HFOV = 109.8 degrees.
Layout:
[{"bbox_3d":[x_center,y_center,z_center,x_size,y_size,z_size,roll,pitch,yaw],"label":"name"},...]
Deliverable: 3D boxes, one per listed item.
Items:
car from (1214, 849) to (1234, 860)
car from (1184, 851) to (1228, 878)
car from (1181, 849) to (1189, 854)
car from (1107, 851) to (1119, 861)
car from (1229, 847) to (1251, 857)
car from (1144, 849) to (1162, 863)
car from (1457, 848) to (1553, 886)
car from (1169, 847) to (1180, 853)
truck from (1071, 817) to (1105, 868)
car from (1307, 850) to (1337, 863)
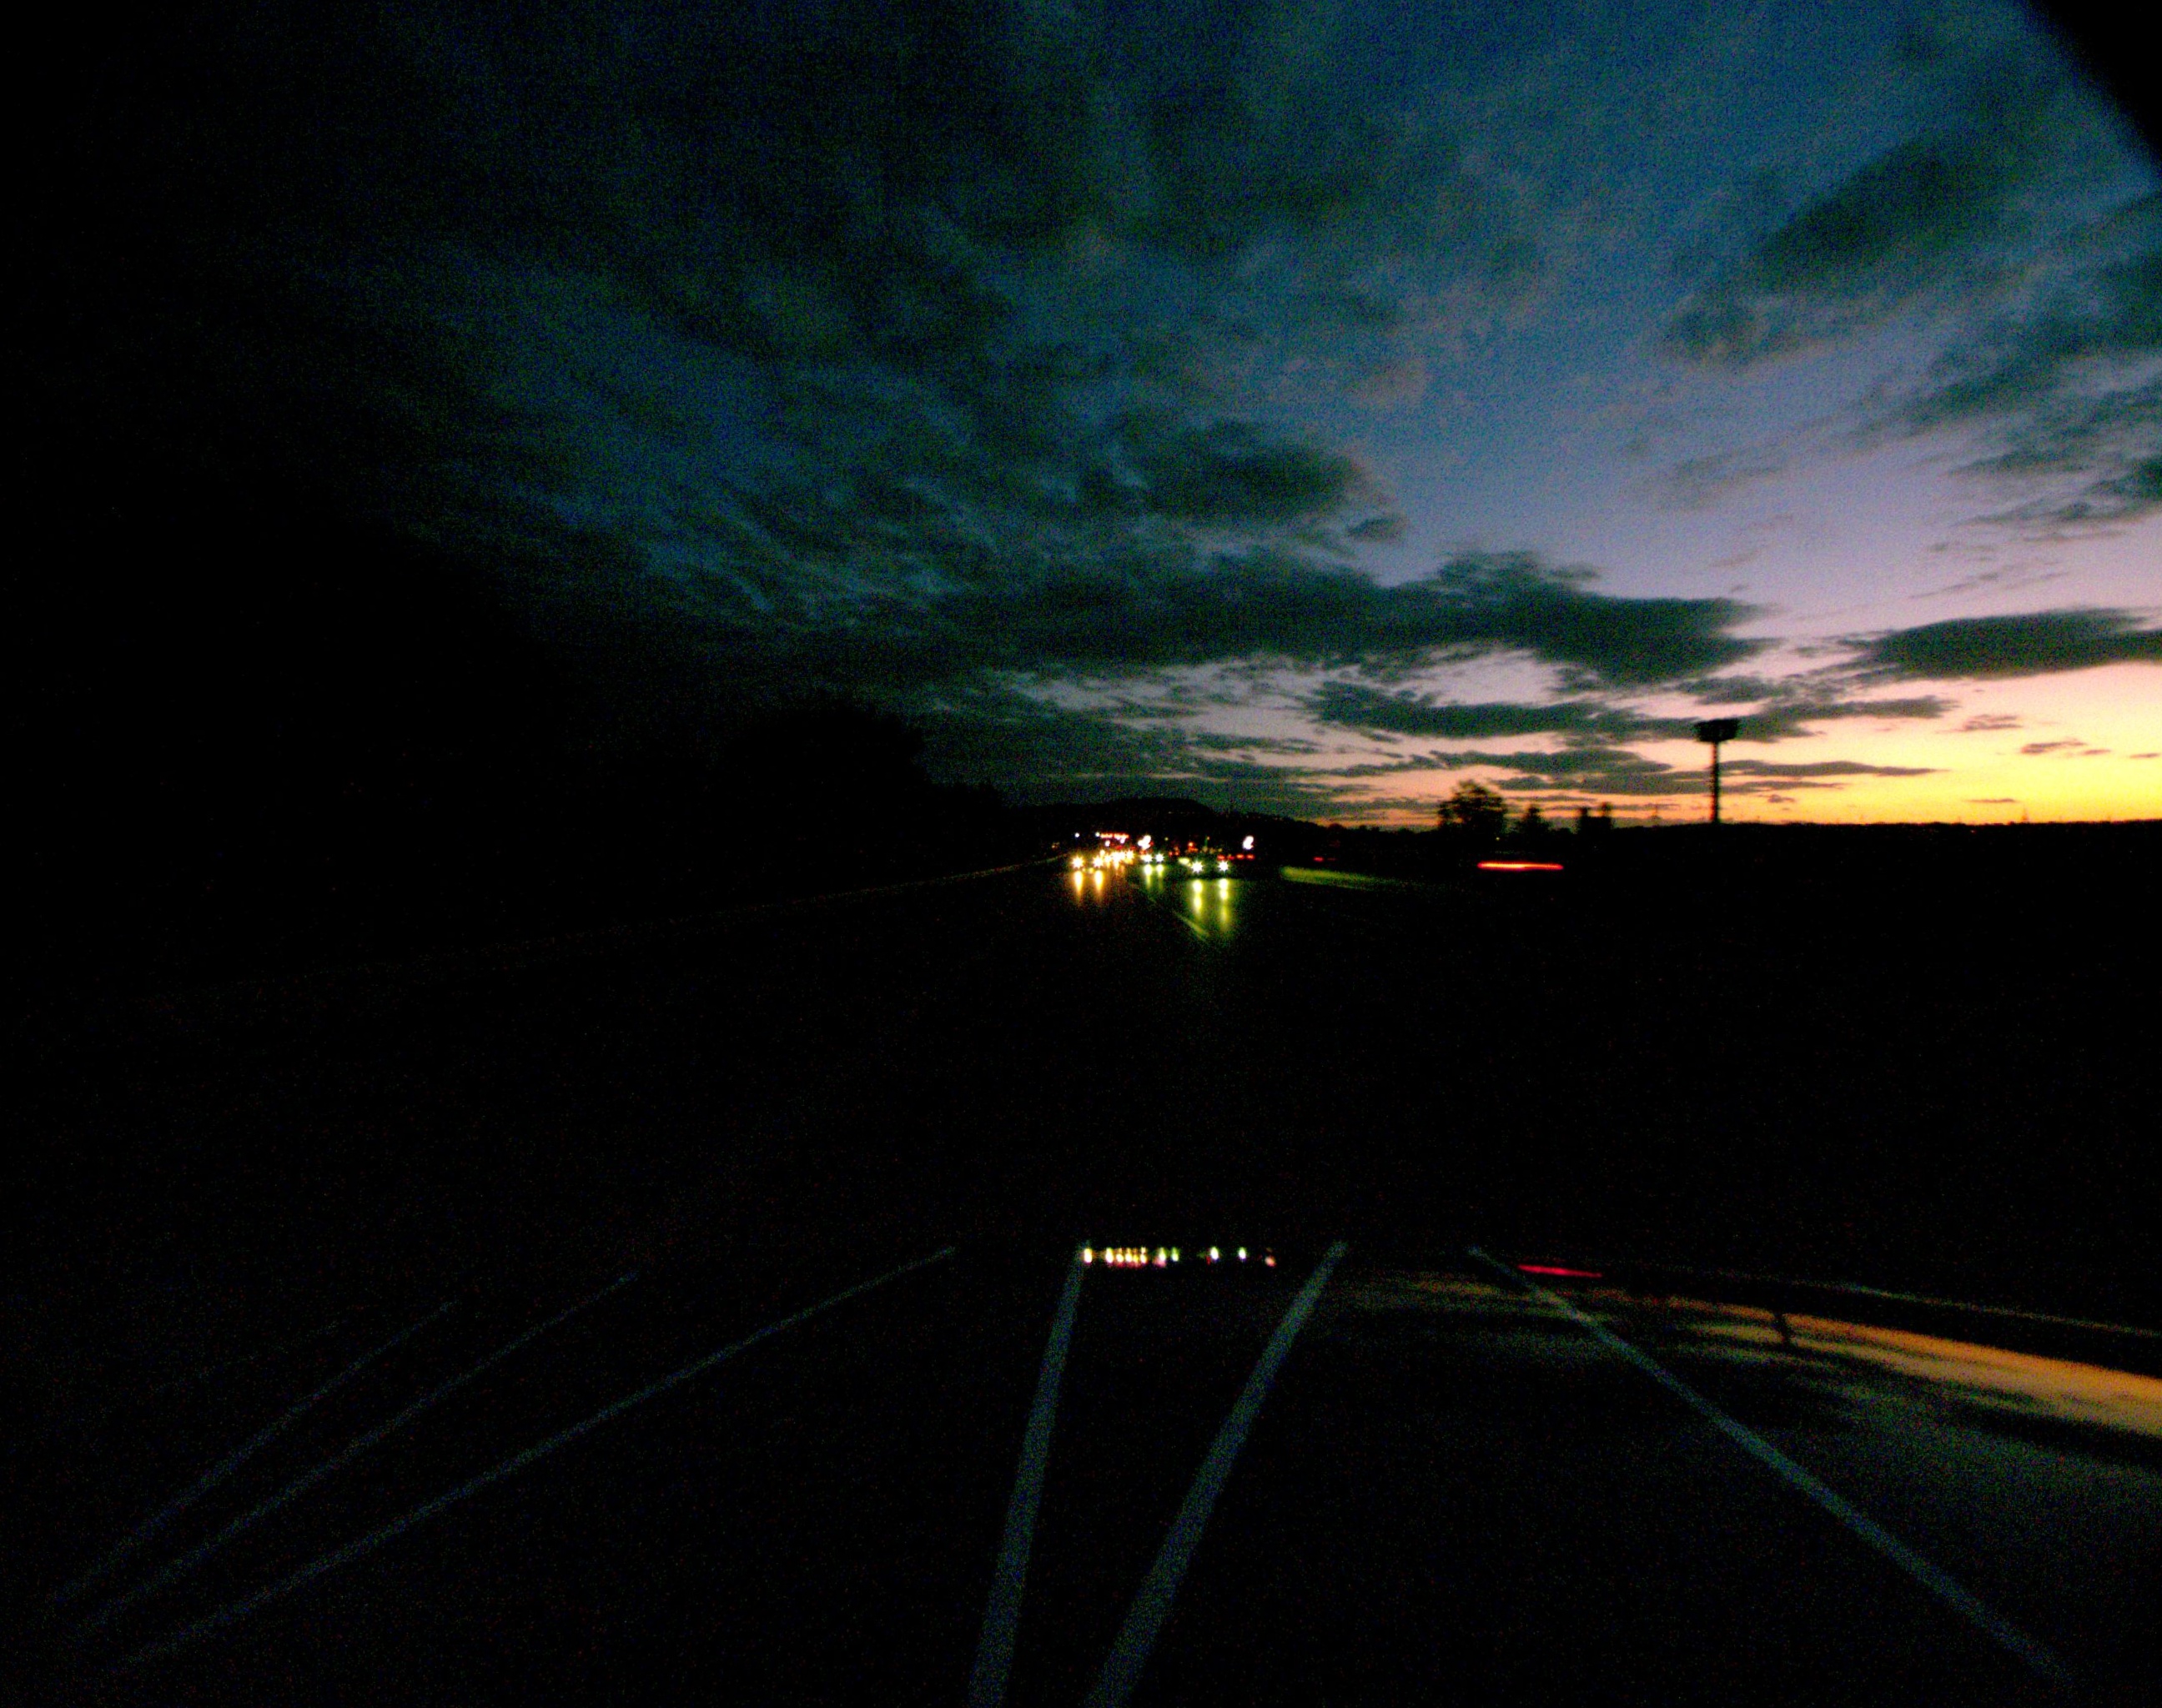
[{"bbox_3d":[17.147,0.070,91.383,1.669,1.171,3.999,-2,1,1],"label":"car"},{"bbox_3d":[7.643,0.616,46.758,1.819,1.429,5.394,-2,1,0],"label":"car"},{"bbox_3d":[26.513,-0.558,193.198,1.540,1.184,3.609,-2,1,1],"label":"car"},{"bbox_3d":[5.138,0.334,122.426,1.802,1.531,4.159,-2,1,1],"label":"car"},{"bbox_3d":[20.553,-0.303,98.369,1.936,1.171,3.999,-2,1,1],"label":"car"},{"bbox_3d":[8.841,0.239,93.888,1.819,1.638,4.856,-2,1,0],"label":"car"},{"bbox_3d":[16.124,0.470,29.116,1.658,1.282,3.645,-2,1,1],"label":"car"},{"bbox_3d":[18.130,-0.816,147.049,1.697,0.983,3.565,-2,1,1],"label":"car"},{"bbox_3d":[0.735,-1.002,75.981,3.012,4.570,12.578,-2,0,1],"label":"truck"},{"bbox_3d":[24.333,0.205,76.822,1.722,1.171,3.999,-2,1,1],"label":"car"}]
